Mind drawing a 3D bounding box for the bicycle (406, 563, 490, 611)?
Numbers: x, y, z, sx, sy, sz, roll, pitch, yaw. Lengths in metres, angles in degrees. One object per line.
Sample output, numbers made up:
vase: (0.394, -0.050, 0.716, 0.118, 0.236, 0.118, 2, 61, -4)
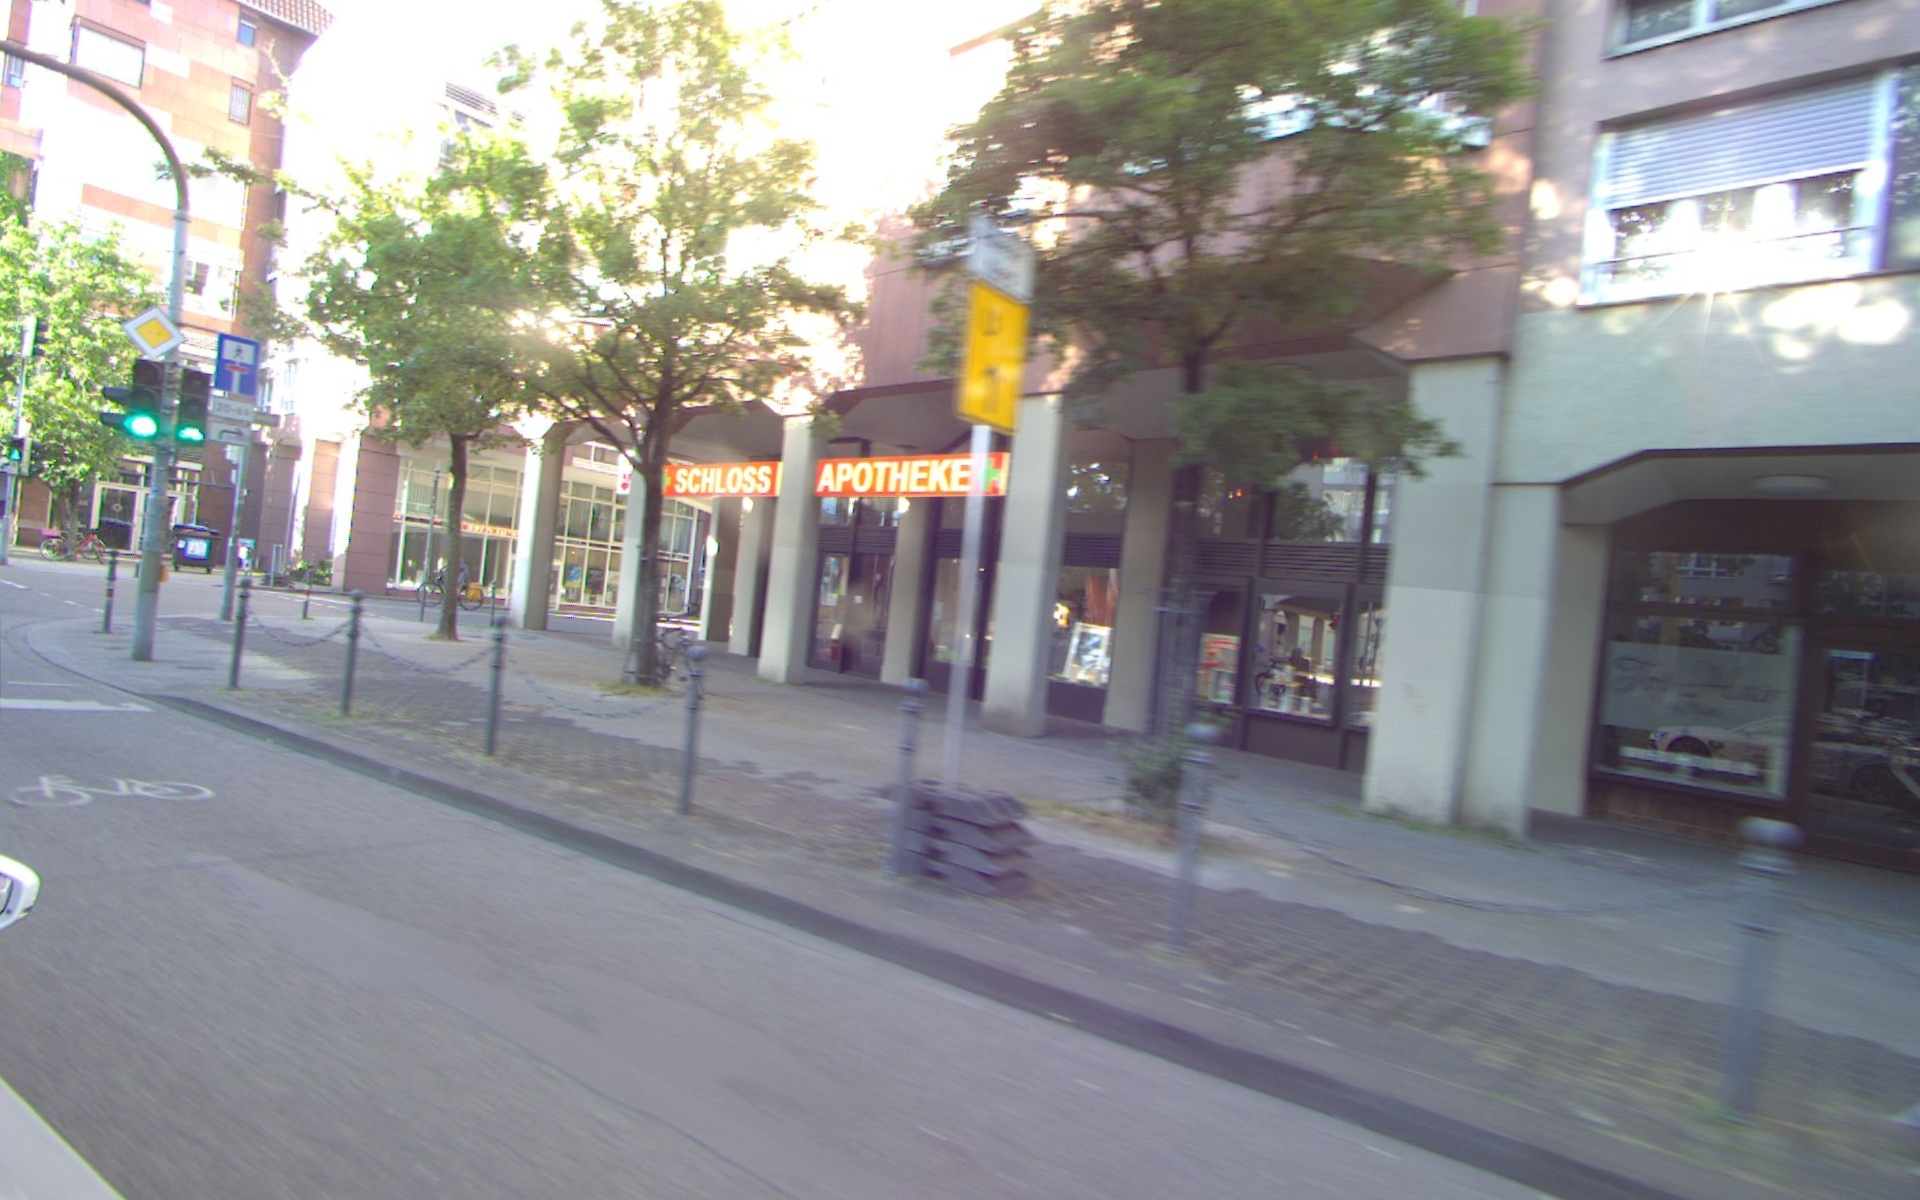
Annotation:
bicycle: (-14.666, -0.365, 28.864, 0.792, 1.126, 1.913, 6, -1, 40)

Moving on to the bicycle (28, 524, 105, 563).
bicycle: (-30.165, -1.899, 33.999, 1.733, 1.066, 0.734, 7, -1, -31)

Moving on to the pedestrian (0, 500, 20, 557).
pedestrian: (-29.127, -2.186, 30.655, 0.669, 1.693, 0.459, 6, 0, 34)

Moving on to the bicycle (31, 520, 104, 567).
bicycle: (-28.072, -1.766, 31.672, 0.569, 1.242, 1.566, 6, -1, 38)

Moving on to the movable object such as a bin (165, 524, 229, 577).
movable object such as a bin: (-24.569, -1.589, 32.389, 0.860, 1.500, 1.407, 6, -1, 44)

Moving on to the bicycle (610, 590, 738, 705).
bicycle: (-3.704, 0.584, 12.921, 0.620, 1.240, 1.902, 7, 0, -45)

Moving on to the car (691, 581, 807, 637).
car: (-8.344, 0.391, 40.018, 1.776, 1.742, 4.180, 6, -1, 41)

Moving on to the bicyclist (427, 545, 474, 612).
bicyclist: (-14.624, -0.624, 28.873, 0.777, 1.792, 0.824, 6, 0, 41)
